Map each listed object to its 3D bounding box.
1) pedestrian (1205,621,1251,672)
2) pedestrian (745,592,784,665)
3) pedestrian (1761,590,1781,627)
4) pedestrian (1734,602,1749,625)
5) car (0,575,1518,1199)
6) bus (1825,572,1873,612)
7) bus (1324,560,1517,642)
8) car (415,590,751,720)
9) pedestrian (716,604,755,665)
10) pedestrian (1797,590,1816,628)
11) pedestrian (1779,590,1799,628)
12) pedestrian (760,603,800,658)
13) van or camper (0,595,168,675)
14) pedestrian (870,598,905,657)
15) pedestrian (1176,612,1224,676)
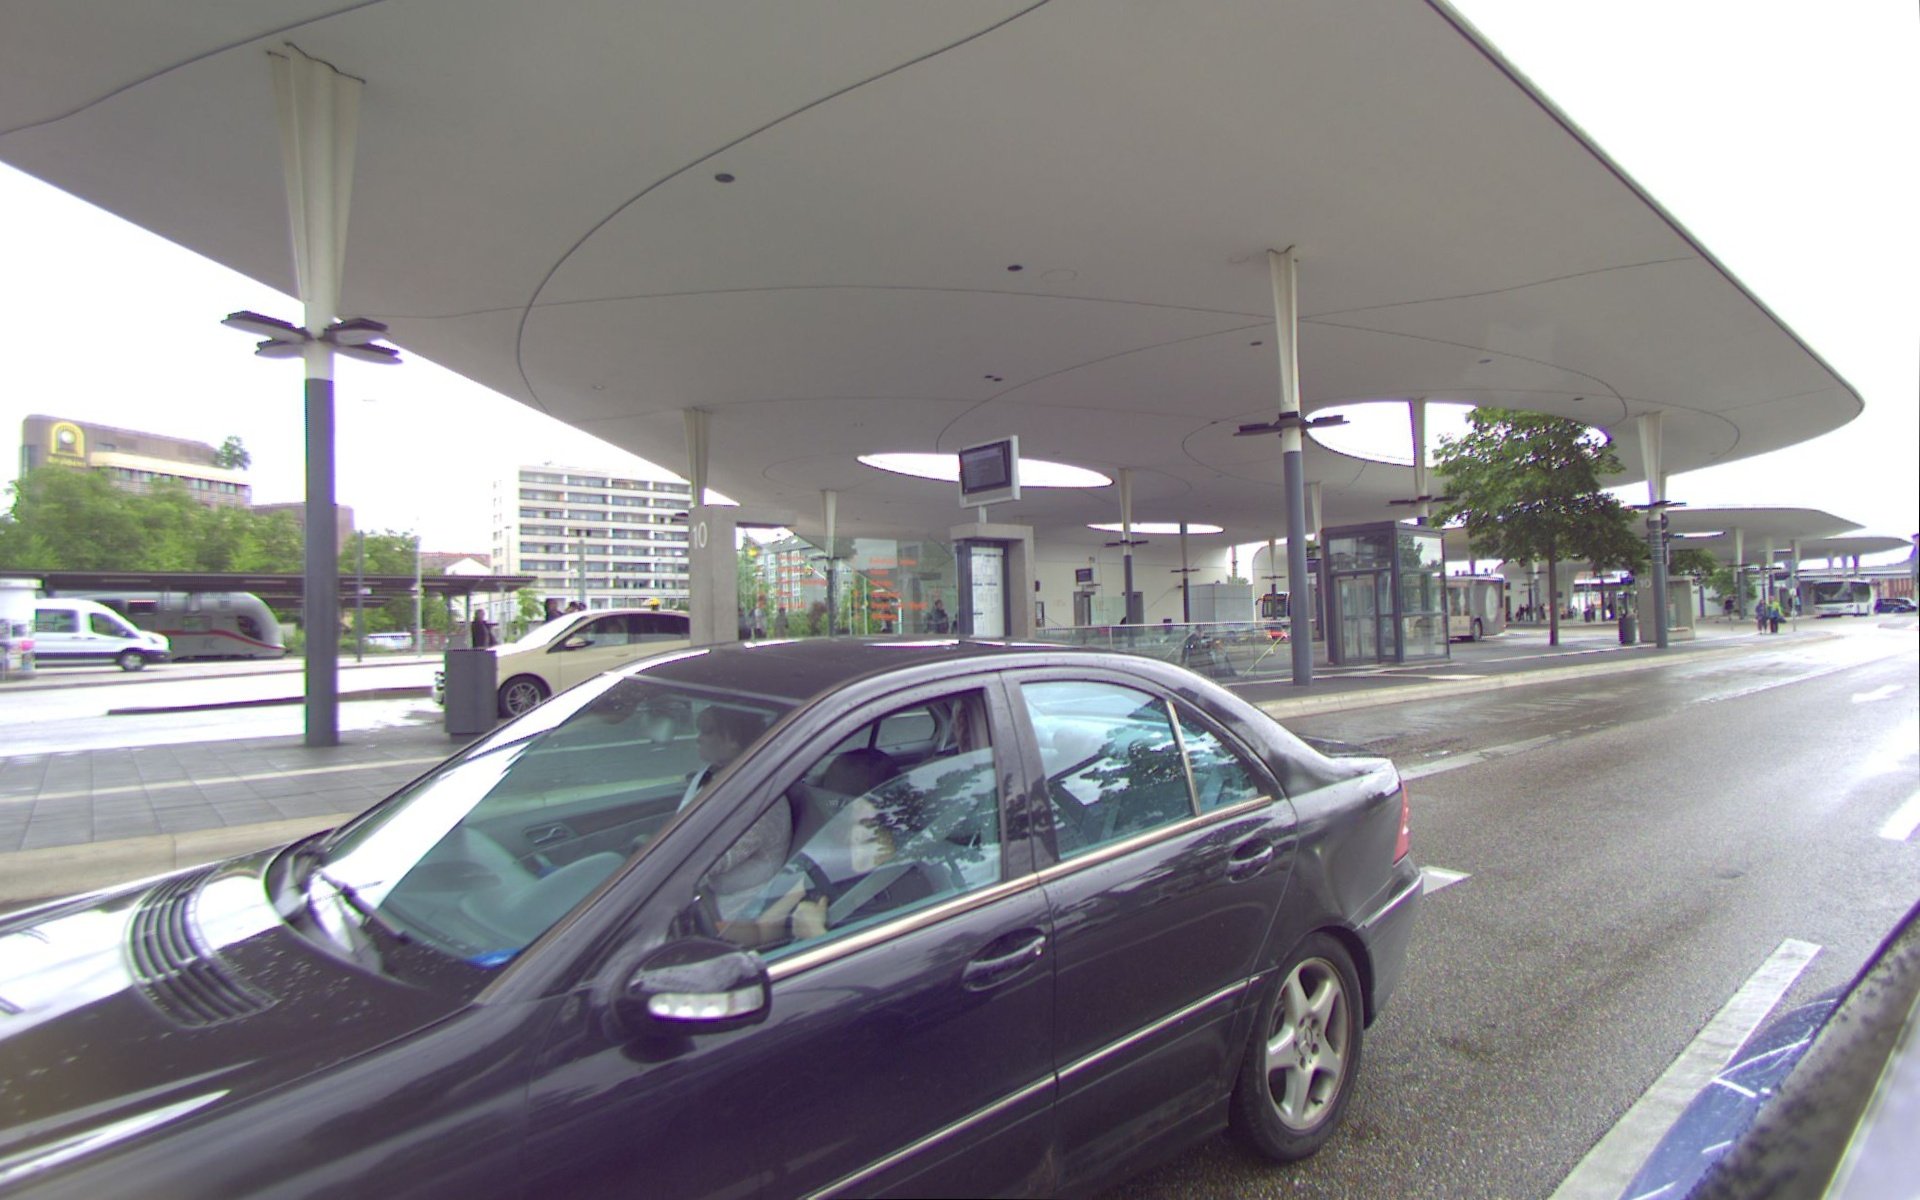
[{"bbox_3d":[5.297,0.904,19.990,0.626,0.974,0.622,0,-1,-41],"label":"pedestrian"},{"bbox_3d":[-4.696,0.669,24.300,0.680,1.728,0.658,0,-1,-40],"label":"pedestrian"},{"bbox_3d":[36.387,0.394,45.424,0.577,1.645,0.576,0,-1,-41],"label":"pedestrian"},{"bbox_3d":[57.329,0.978,74.191,0.740,1.651,0.723,0,-1,-41],"label":"pedestrian"},{"bbox_3d":[-0.362,0.812,2.678,4.359,1.499,1.747,-2,-4,-42],"label":"car"},{"bbox_3d":[75.359,-0.669,85.722,2.666,3.169,9.565,-1,-1,43],"label":"bus"},{"bbox_3d":[20.176,0.026,43.733,12.143,3.146,2.999,0,-1,-42],"label":"bus"},{"bbox_3d":[-5.521,0.748,15.141,4.356,1.671,1.803,0,-3,-41],"label":"car"},{"bbox_3d":[-6.248,0.956,28.178,0.646,1.654,0.854,-1,-1,43],"label":"pedestrian"},{"bbox_3d":[37.119,0.401,44.377,0.543,1.645,0.556,0,-1,-41],"label":"pedestrian"},{"bbox_3d":[36.709,0.401,44.807,0.543,1.645,0.556,0,-1,-41],"label":"pedestrian"},{"bbox_3d":[-5.023,0.846,28.295,0.732,1.497,0.825,-1,-1,43],"label":"pedestrian"},{"bbox_3d":[-29.789,1.097,33.232,5.868,2.495,2.106,0,-1,-41],"label":"van or camper"},{"bbox_3d":[-1.947,0.719,27.075,0.680,1.564,0.658,0,-1,-40],"label":"pedestrian"},{"bbox_3d":[4.866,0.880,20.520,0.657,1.268,0.692,0,-1,-41],"label":"pedestrian"}]
